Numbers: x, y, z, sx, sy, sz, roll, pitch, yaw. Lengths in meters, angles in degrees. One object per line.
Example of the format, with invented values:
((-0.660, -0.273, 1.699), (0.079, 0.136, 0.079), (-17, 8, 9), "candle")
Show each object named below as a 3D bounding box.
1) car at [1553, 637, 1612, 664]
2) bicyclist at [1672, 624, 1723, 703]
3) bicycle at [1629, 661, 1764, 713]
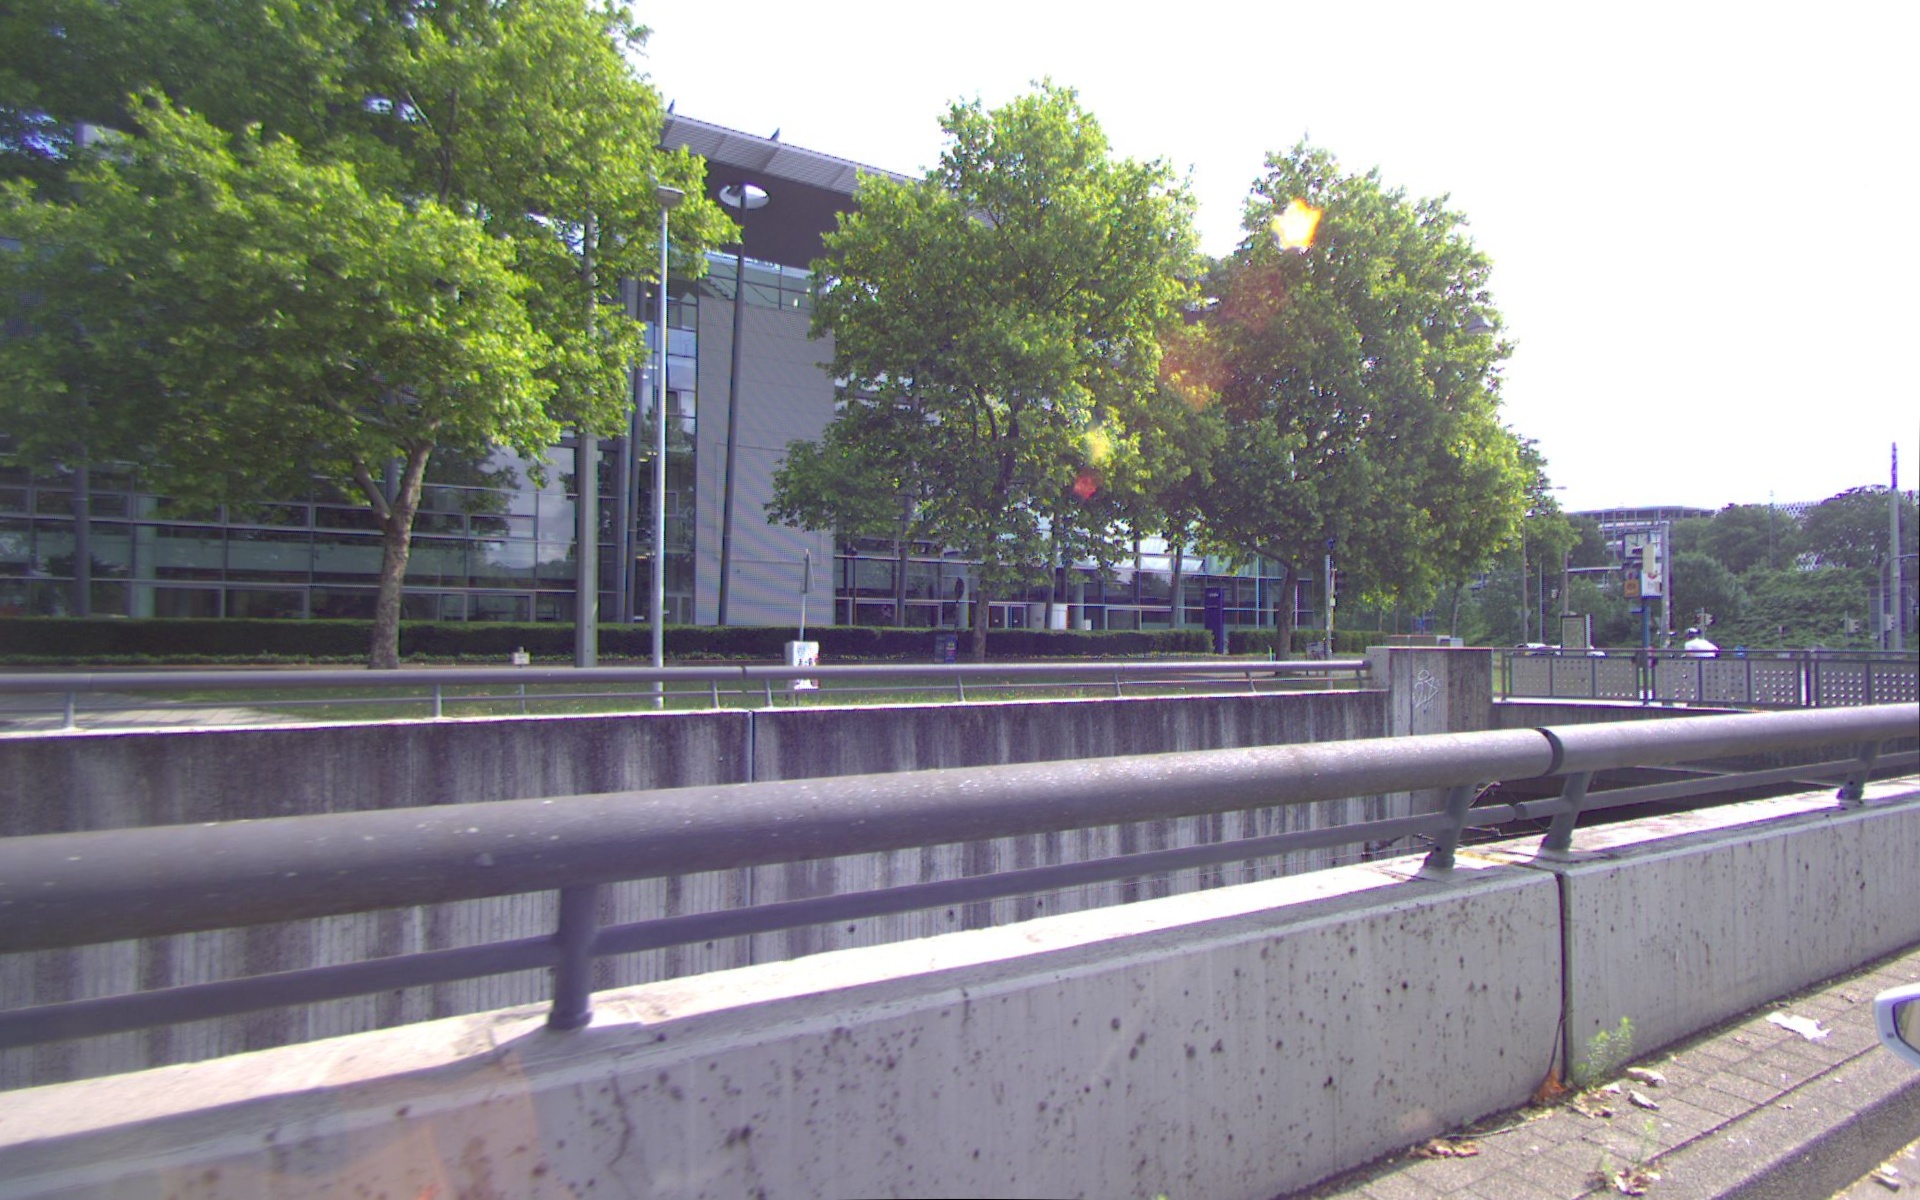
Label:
((41.228, 3.354, 66.638), (1.678, 1.607, 4.367), (1, -4, 7), "car")
((13.604, 1.167, 18.526), (0.618, 1.423, 0.508), (1, -2, -25), "bicyclist")
((13.574, 1.586, 18.572), (0.604, 0.837, 1.965), (1, -2, -26), "bicycle")
